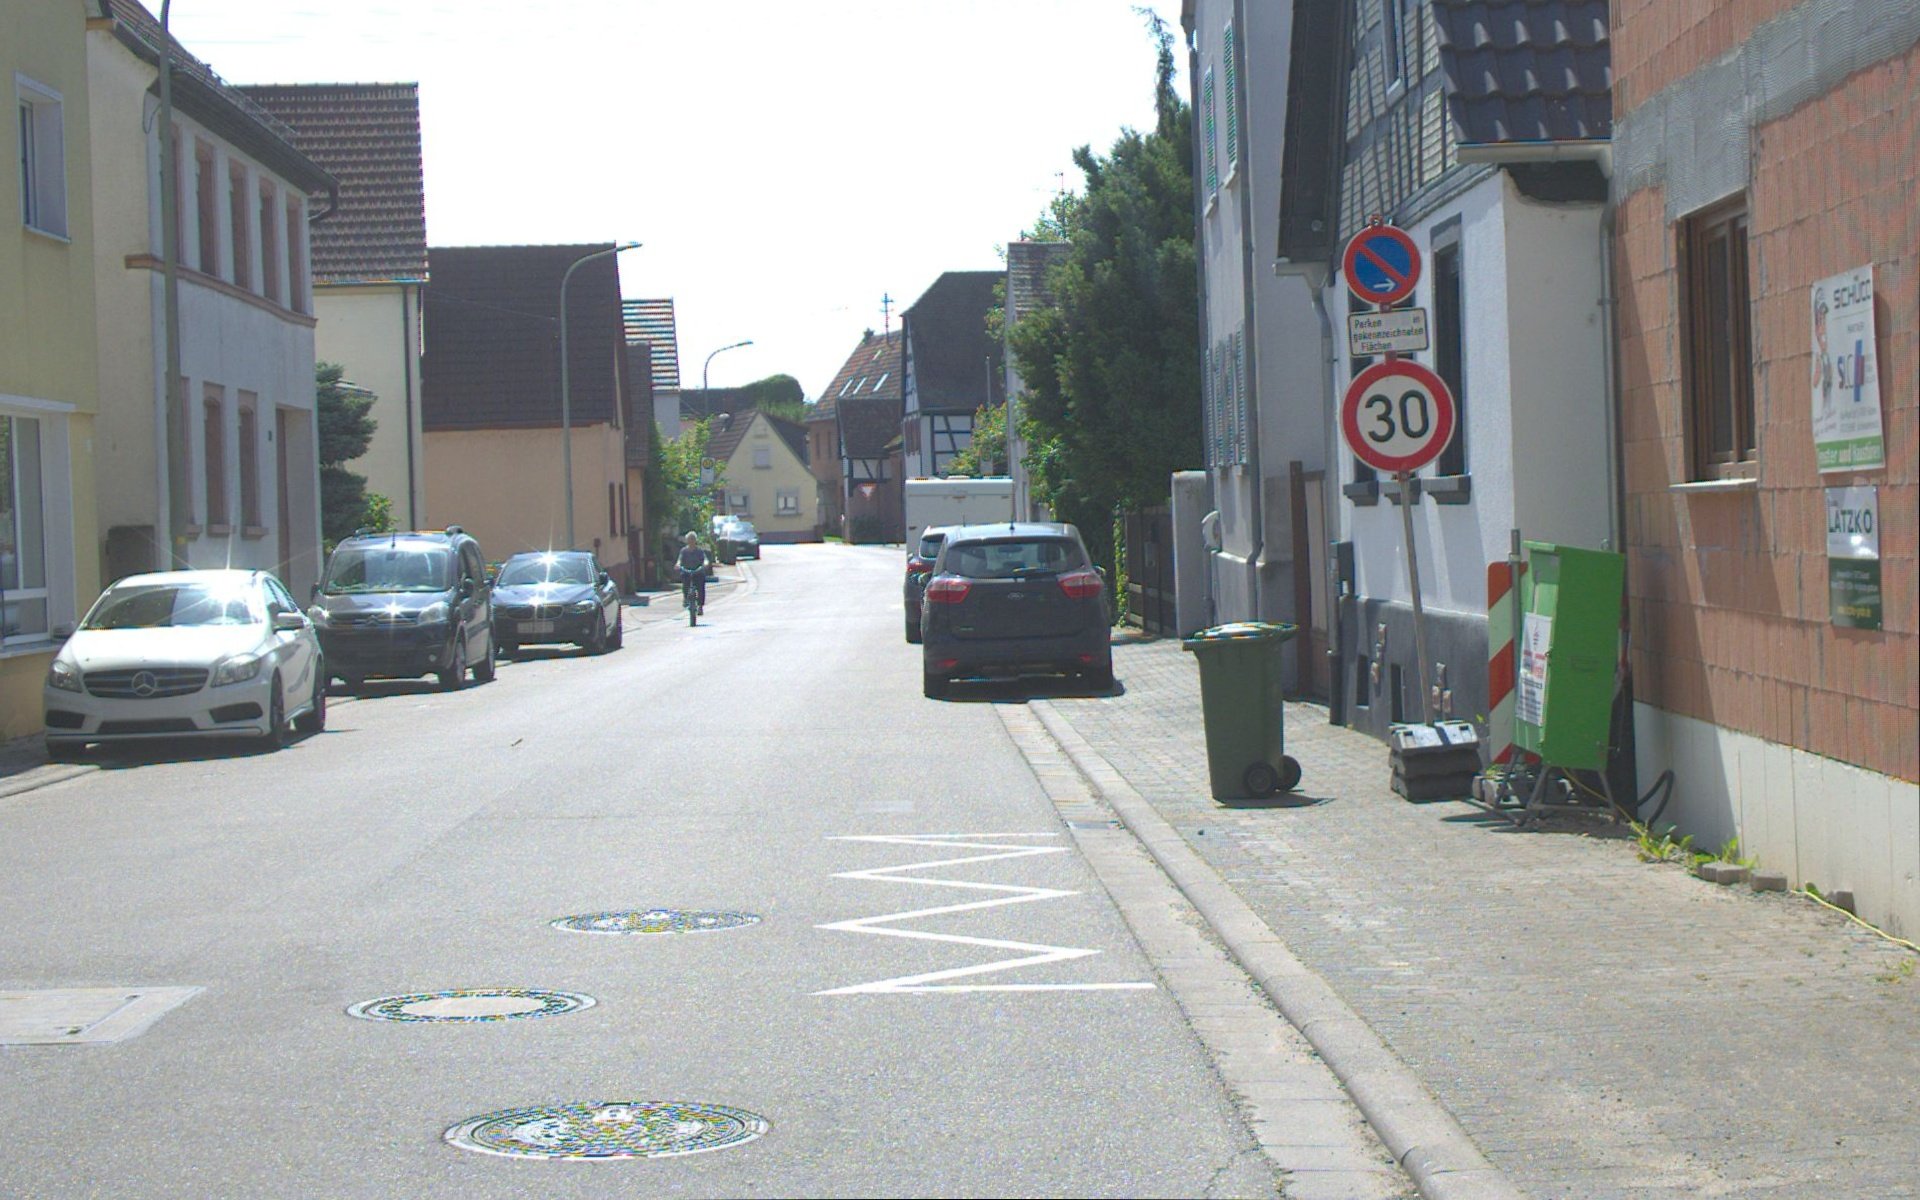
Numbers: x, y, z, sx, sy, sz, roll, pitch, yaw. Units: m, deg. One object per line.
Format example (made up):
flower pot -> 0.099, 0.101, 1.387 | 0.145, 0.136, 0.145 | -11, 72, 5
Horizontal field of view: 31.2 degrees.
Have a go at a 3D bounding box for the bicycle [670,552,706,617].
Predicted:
bicycle -> -5.151, -0.300, 65.123 | 0.589, 1.144, 1.949 | -4, 2, -4

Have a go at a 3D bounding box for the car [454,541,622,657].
car -> -6.251, -0.059, 51.391 | 1.844, 1.521, 4.765 | -3, 1, 0

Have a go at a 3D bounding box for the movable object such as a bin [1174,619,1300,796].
movable object such as a bin -> 1.513, 0.583, 18.737 | 0.538, 0.910, 0.551 | -3, 1, 17

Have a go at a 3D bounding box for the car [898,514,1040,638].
car -> 0.176, -0.386, 50.185 | 1.794, 1.625, 4.360 | -3, 1, 3

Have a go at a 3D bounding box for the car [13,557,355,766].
car -> -6.263, 0.441, 28.217 | 1.834, 1.459, 4.271 | -3, 1, -1

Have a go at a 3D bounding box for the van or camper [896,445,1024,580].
van or camper -> -0.048, -1.899, 74.354 | 2.521, 2.687, 4.556 | -3, 2, -1

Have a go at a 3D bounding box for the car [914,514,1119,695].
car -> 0.520, -0.018, 33.895 | 1.797, 1.554, 4.632 | -3, 2, 0

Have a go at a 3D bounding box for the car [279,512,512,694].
car -> -6.397, -0.024, 39.422 | 1.834, 1.831, 4.354 | -4, 2, 0

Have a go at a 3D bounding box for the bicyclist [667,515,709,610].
bicyclist -> -5.155, -0.716, 65.117 | 0.703, 1.764, 0.625 | -3, 1, -4
